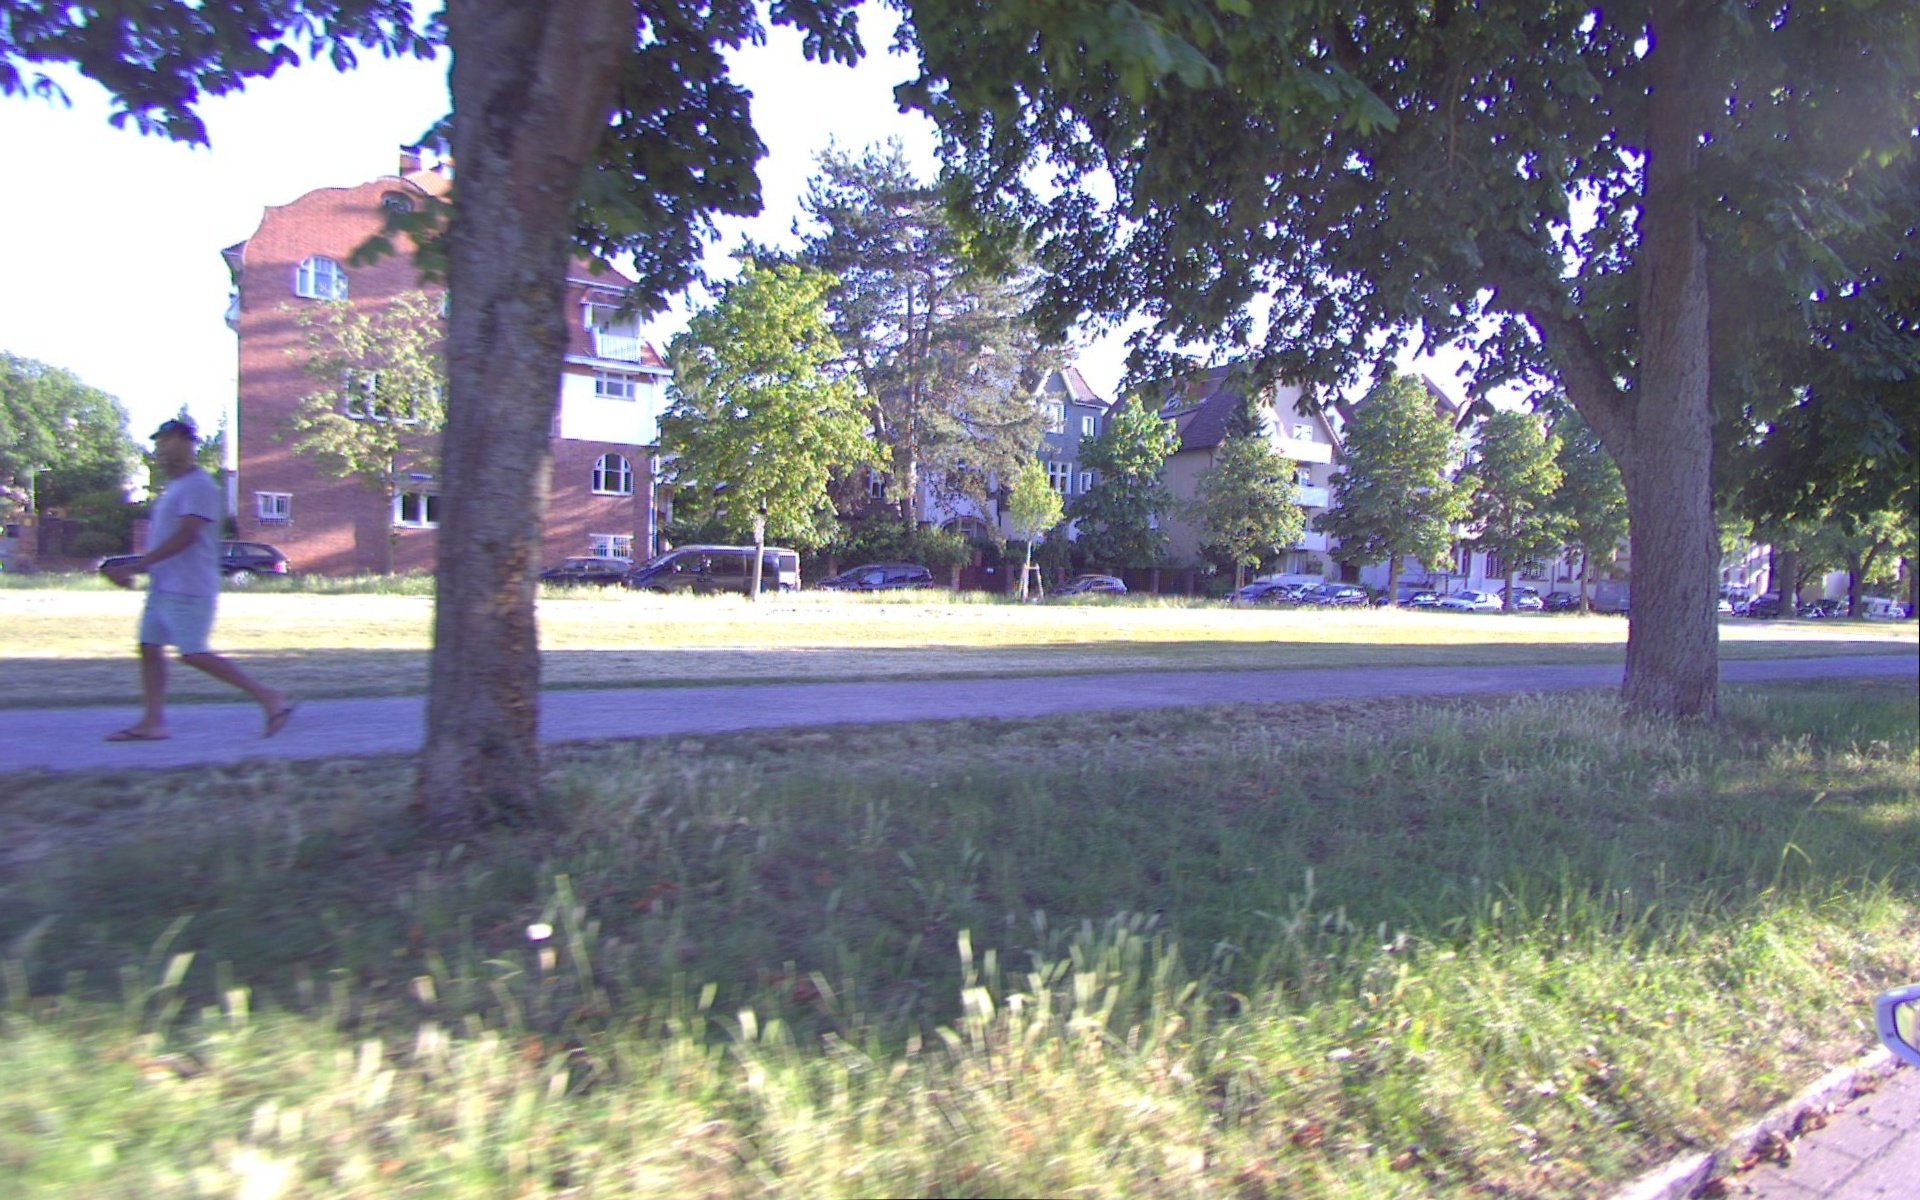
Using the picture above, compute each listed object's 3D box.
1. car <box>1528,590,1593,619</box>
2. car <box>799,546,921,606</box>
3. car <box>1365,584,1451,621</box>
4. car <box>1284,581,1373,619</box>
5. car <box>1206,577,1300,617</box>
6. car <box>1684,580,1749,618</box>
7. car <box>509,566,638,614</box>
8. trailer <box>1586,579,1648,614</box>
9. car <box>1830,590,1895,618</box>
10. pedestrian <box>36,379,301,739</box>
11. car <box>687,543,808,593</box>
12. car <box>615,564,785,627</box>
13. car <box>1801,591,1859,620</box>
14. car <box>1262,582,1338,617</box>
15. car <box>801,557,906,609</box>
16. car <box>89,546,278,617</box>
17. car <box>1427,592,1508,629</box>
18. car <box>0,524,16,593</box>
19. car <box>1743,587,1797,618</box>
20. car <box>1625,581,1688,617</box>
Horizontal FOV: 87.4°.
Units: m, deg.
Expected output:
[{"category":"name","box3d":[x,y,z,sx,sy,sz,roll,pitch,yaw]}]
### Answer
[{"category":"car","box3d":[43.020,0.324,71.942,4.698,1.979,1.982,1,2,-32]},{"category":"car","box3d":[-3.644,-0.874,36.716,3.953,2.041,1.983,1,2,-31]},{"category":"car","box3d":[23.614,0.146,52.901,4.204,1.744,1.984,1,2,-30]},{"category":"car","box3d":[18.314,-0.013,49.893,3.951,1.706,1.985,1,2,-29]},{"category":"car","box3d":[13.778,-0.131,47.203,3.951,1.706,1.985,1,2,-29]},{"category":"car","box3d":[63.472,-0.058,84.263,5.751,2.961,2.425,1,-1,-31]},{"category":"car","box3d":[-14.275,-0.370,37.138,4.255,1.645,1.748,0,2,-31]},{"category":"trailer","box3d":[49.403,-0.256,75.478,4.669,2.461,1.983,1,2,-31]},{"category":"car","box3d":[76.555,0.357,85.202,5.395,2.266,2.522,0,2,-31]},{"category":"pedestrian","box3d":[-4.268,-0.206,5.510,0.979,1.781,0.722,0,2,-24]},{"category":"car","box3d":[-8.453,-1.263,40.038,4.356,1.862,1.807,0,2,-31]},{"category":"car","box3d":[-8.632,-0.154,33.479,5.184,1.967,1.984,0,2,-30]},{"category":"car","box3d":[70.497,0.456,81.342,5.127,2.280,1.983,1,2,-31]},{"category":"car","box3d":[19.304,-0.041,57.025,3.957,1.807,1.982,1,2,-33]},{"category":"car","box3d":[-4.503,-0.723,42.459,3.952,2.041,1.984,1,2,-29]},{"category":"car","box3d":[-23.436,-0.550,30.556,4.317,2.041,1.748,0,2,-31]},{"category":"car","box3d":[28.206,0.599,55.808,4.204,1.885,1.984,1,2,-30]},{"category":"car","box3d":[-25.294,-1.035,23.322,4.597,1.661,1.809,1,2,-31]},{"category":"car","box3d":[61.169,0.193,75.858,4.263,2.205,1.676,1,2,-30]},{"category":"car","box3d":[54.514,-0.064,78.600,5.126,2.708,1.983,1,2,-31]}]
